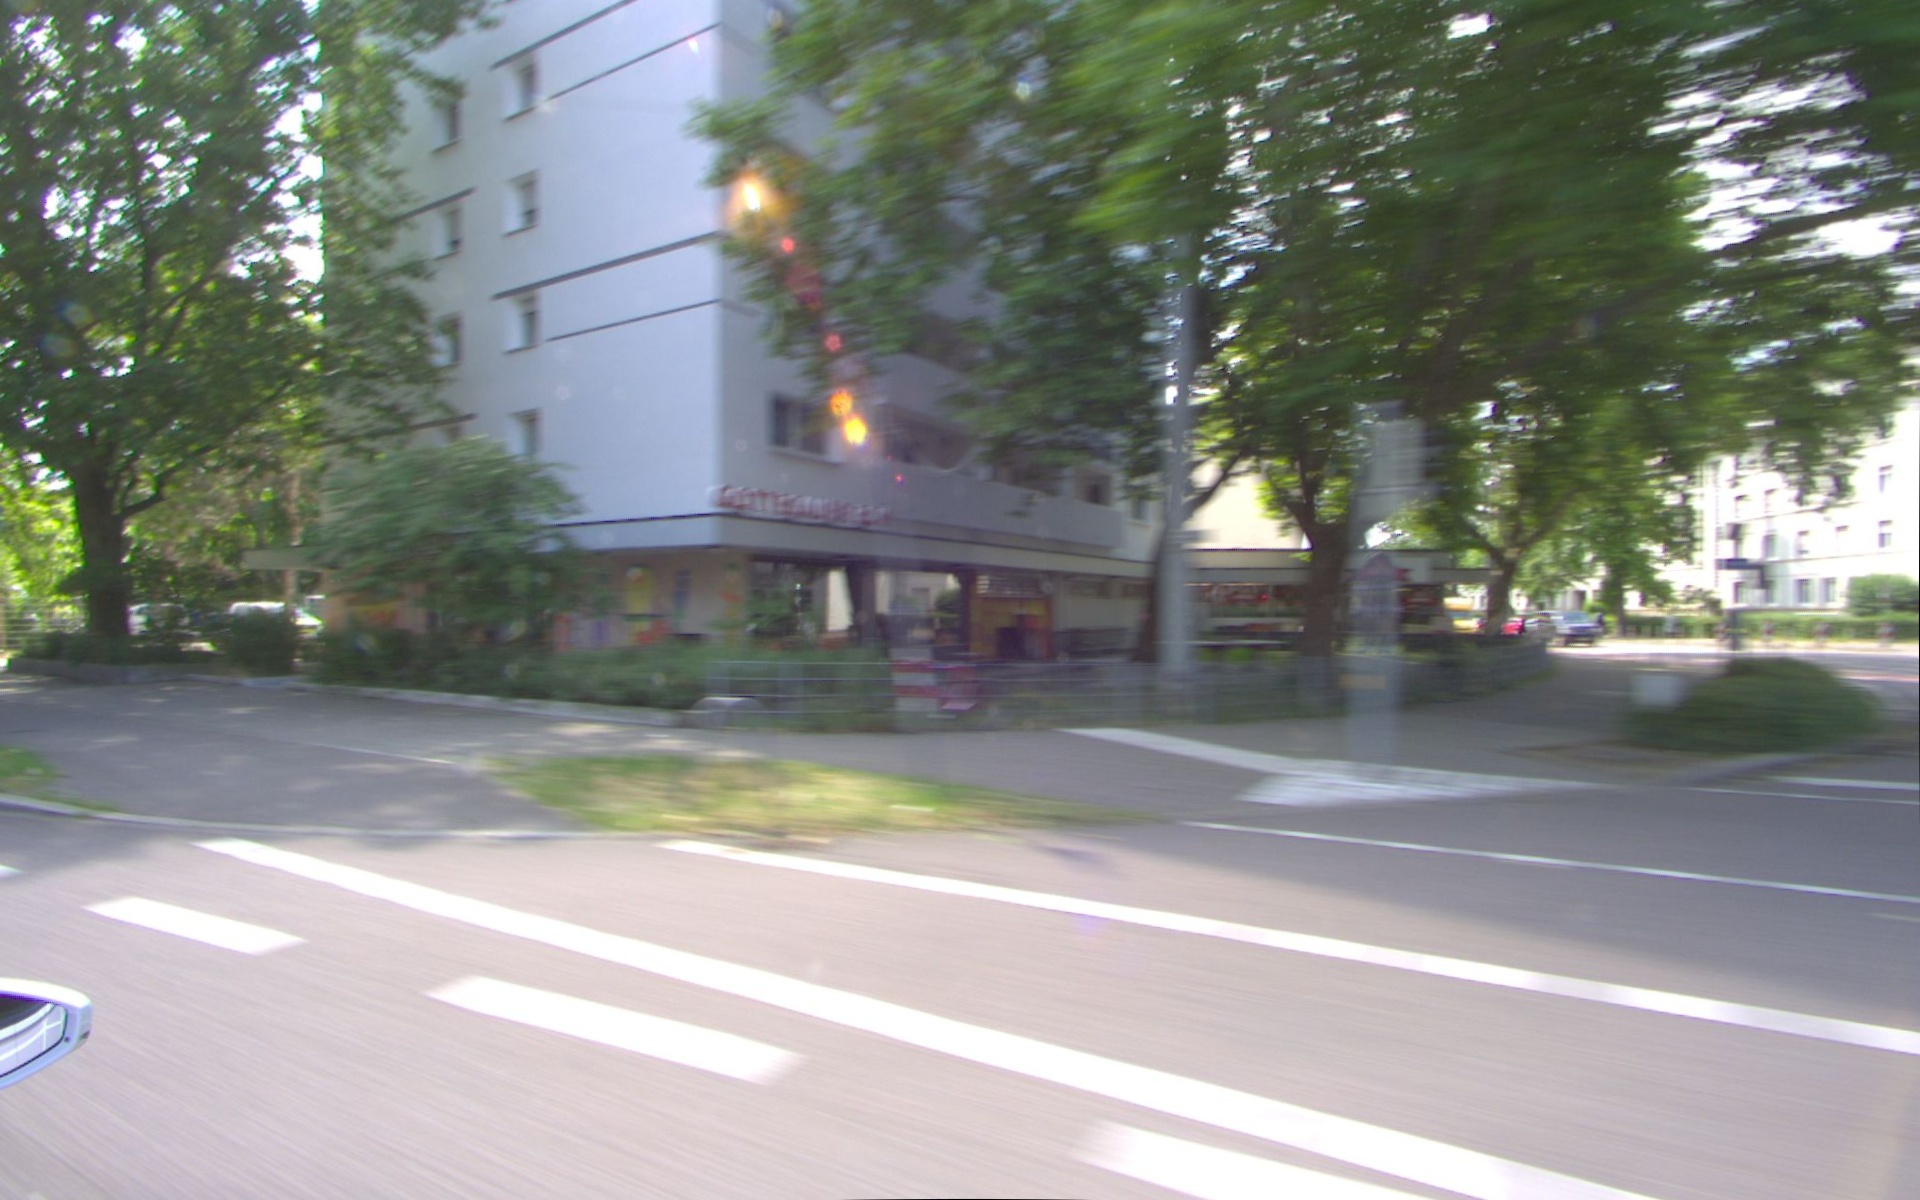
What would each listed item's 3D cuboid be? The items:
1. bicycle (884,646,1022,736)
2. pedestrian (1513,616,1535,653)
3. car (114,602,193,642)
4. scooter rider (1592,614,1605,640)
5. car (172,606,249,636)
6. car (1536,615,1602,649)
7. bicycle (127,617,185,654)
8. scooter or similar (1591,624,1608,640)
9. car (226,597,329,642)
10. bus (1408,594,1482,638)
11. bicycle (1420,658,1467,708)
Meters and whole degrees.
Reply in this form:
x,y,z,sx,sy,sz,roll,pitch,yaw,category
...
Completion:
x,y,z,sx,sy,sz,roll,pitch,yaw,category
-0.077,1.113,12.607,1.704,1.022,0.531,0,0,-31,bicycle
23.048,1.406,40.954,0.659,1.498,0.574,1,0,17,pedestrian
-38.587,1.024,47.897,4.279,1.838,1.802,0,0,34,car
44.183,1.861,69.246,0.518,1.836,0.649,0,1,8,scooter rider
-37.492,1.032,50.079,3.989,1.420,1.803,0,-1,33,car
32.623,1.676,53.742,1.832,1.683,3.746,0,0,12,car
-24.357,1.072,30.340,1.808,1.087,0.605,0,0,24,bicycle
44.171,2.216,69.163,0.540,1.106,1.291,0,0,8,scooter or similar
-28.499,0.796,41.784,4.701,1.779,1.734,0,0,31,car
31.375,1.036,64.997,2.355,2.744,6.369,0,-1,7,bus
8.489,1.439,17.567,1.199,0.807,0.295,0,0,-41,bicycle
